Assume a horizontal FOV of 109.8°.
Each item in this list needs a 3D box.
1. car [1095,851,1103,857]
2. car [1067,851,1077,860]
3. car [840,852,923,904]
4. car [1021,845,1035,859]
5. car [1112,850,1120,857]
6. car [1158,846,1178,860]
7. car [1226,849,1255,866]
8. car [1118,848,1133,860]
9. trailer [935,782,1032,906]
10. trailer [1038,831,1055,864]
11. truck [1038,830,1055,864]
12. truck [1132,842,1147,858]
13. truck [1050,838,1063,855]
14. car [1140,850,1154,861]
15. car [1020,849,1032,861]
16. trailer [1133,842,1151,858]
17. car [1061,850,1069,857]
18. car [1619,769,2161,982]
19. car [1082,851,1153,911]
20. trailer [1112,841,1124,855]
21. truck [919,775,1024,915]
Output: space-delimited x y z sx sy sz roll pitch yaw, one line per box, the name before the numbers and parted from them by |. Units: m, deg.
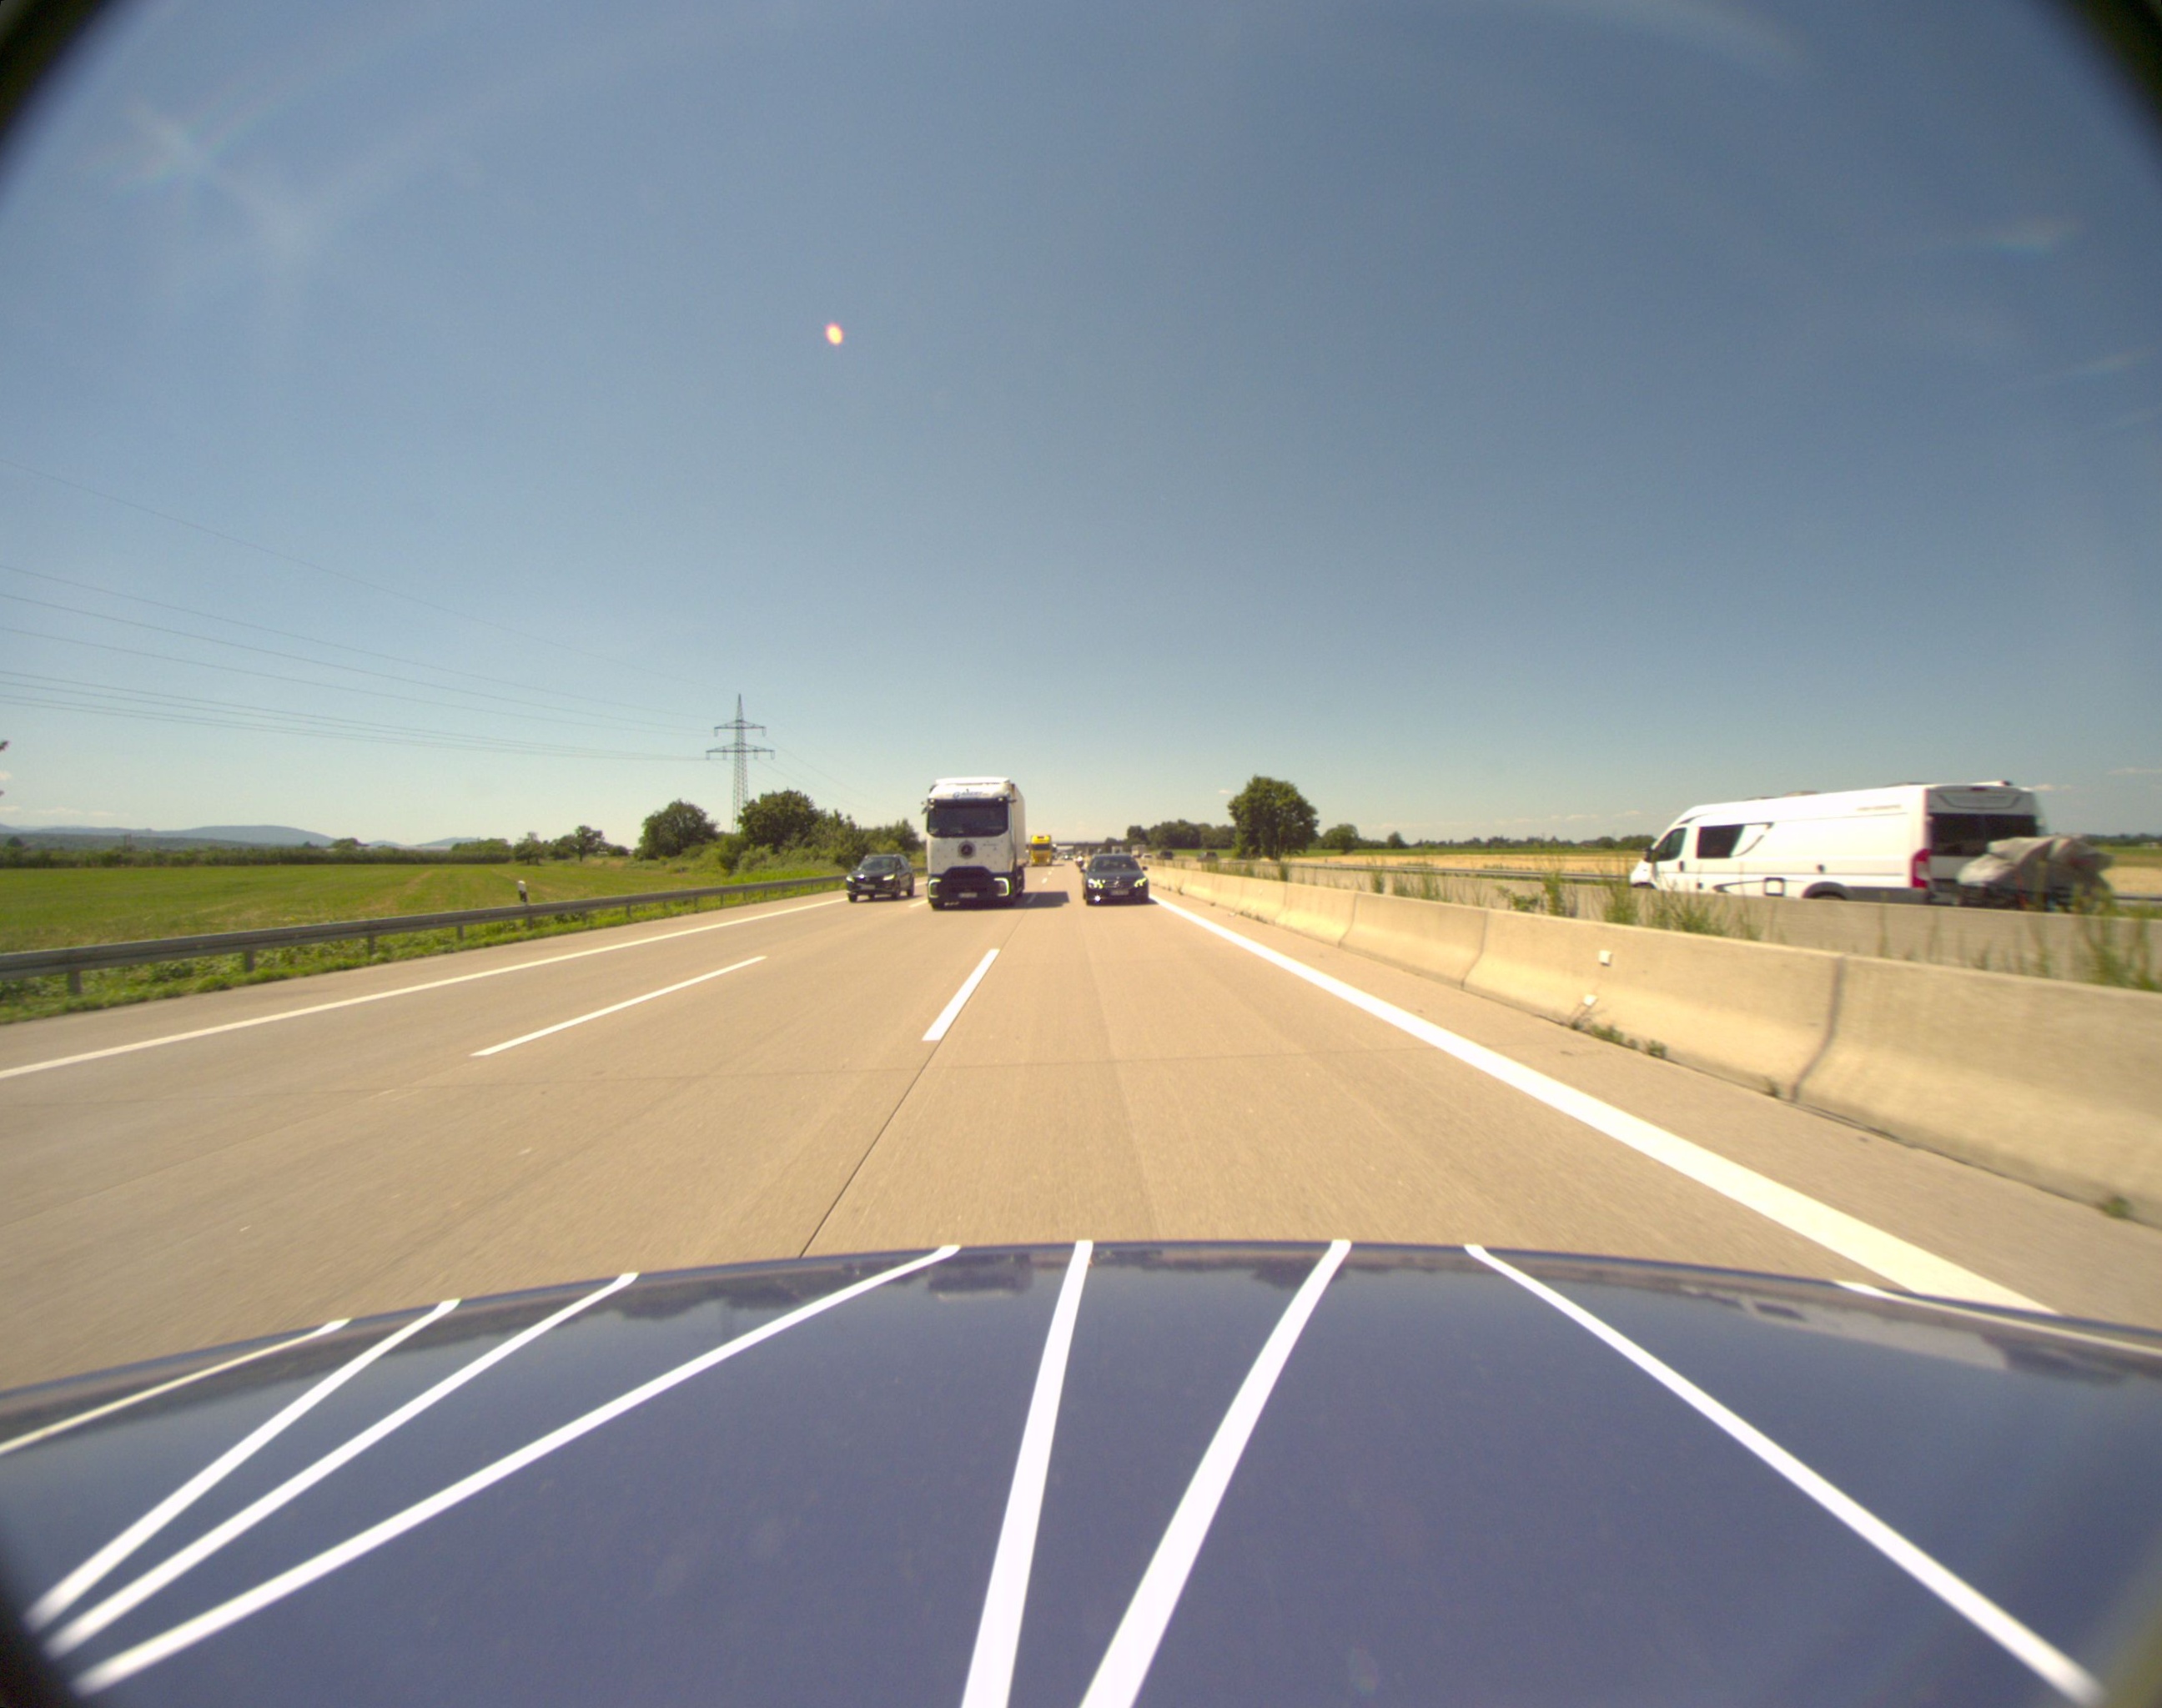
car | 5.355 -0.060 226.165 1.999 1.707 5.024 -3 0 -1
car | -1.824 0.226 158.603 1.999 1.781 4.300 -2 0 -1
car | -7.531 0.844 29.090 1.998 1.772 4.000 -2 0 1
car | -9.383 -0.288 134.261 2.140 2.334 5.515 -2 0 -1
car | 8.546 -0.085 185.456 1.968 1.707 5.126 -2 0 1
car | 12.017 -0.119 105.291 1.998 1.867 5.183 -2 0 0
car | 16.804 0.369 80.327 1.999 1.707 4.300 -2 0 -2
car | 6.903 0.000 119.012 1.998 1.707 5.029 -2 0 0
trailer | -3.432 -0.346 29.318 2.588 3.855 10.370 -2 0 -2
trailer | -4.688 -0.875 105.698 1.999 4.230 15.195 -2 0 -2
truck | -4.478 -0.908 98.525 1.999 4.230 5.193 -2 1 -2
truck | 14.389 -0.941 187.974 2.811 3.666 7.234 -2 0 -1
truck | -6.321 -1.925 195.015 2.960 4.122 6.151 -2 1 -1
car | 11.326 0.215 130.036 1.998 1.707 4.612 -2 0 0
car | -9.323 0.130 129.604 1.788 2.002 3.819 -2 0 -1
trailer | 14.503 -0.951 181.306 2.811 3.662 13.746 -2 0 -1
car | -4.432 -0.149 216.094 1.999 1.827 4.814 -2 0 -4
car | 13.534 0.265 13.734 2.270 2.772 7.068 -2 0 -3
car | 1.018 0.747 23.082 1.848 1.576 3.939 -2 0 -1
trailer | 10.872 -1.656 223.237 2.908 3.947 8.475 -2 0 -1
truck | -3.286 -0.266 24.061 2.588 3.855 4.983 -2 1 -2
